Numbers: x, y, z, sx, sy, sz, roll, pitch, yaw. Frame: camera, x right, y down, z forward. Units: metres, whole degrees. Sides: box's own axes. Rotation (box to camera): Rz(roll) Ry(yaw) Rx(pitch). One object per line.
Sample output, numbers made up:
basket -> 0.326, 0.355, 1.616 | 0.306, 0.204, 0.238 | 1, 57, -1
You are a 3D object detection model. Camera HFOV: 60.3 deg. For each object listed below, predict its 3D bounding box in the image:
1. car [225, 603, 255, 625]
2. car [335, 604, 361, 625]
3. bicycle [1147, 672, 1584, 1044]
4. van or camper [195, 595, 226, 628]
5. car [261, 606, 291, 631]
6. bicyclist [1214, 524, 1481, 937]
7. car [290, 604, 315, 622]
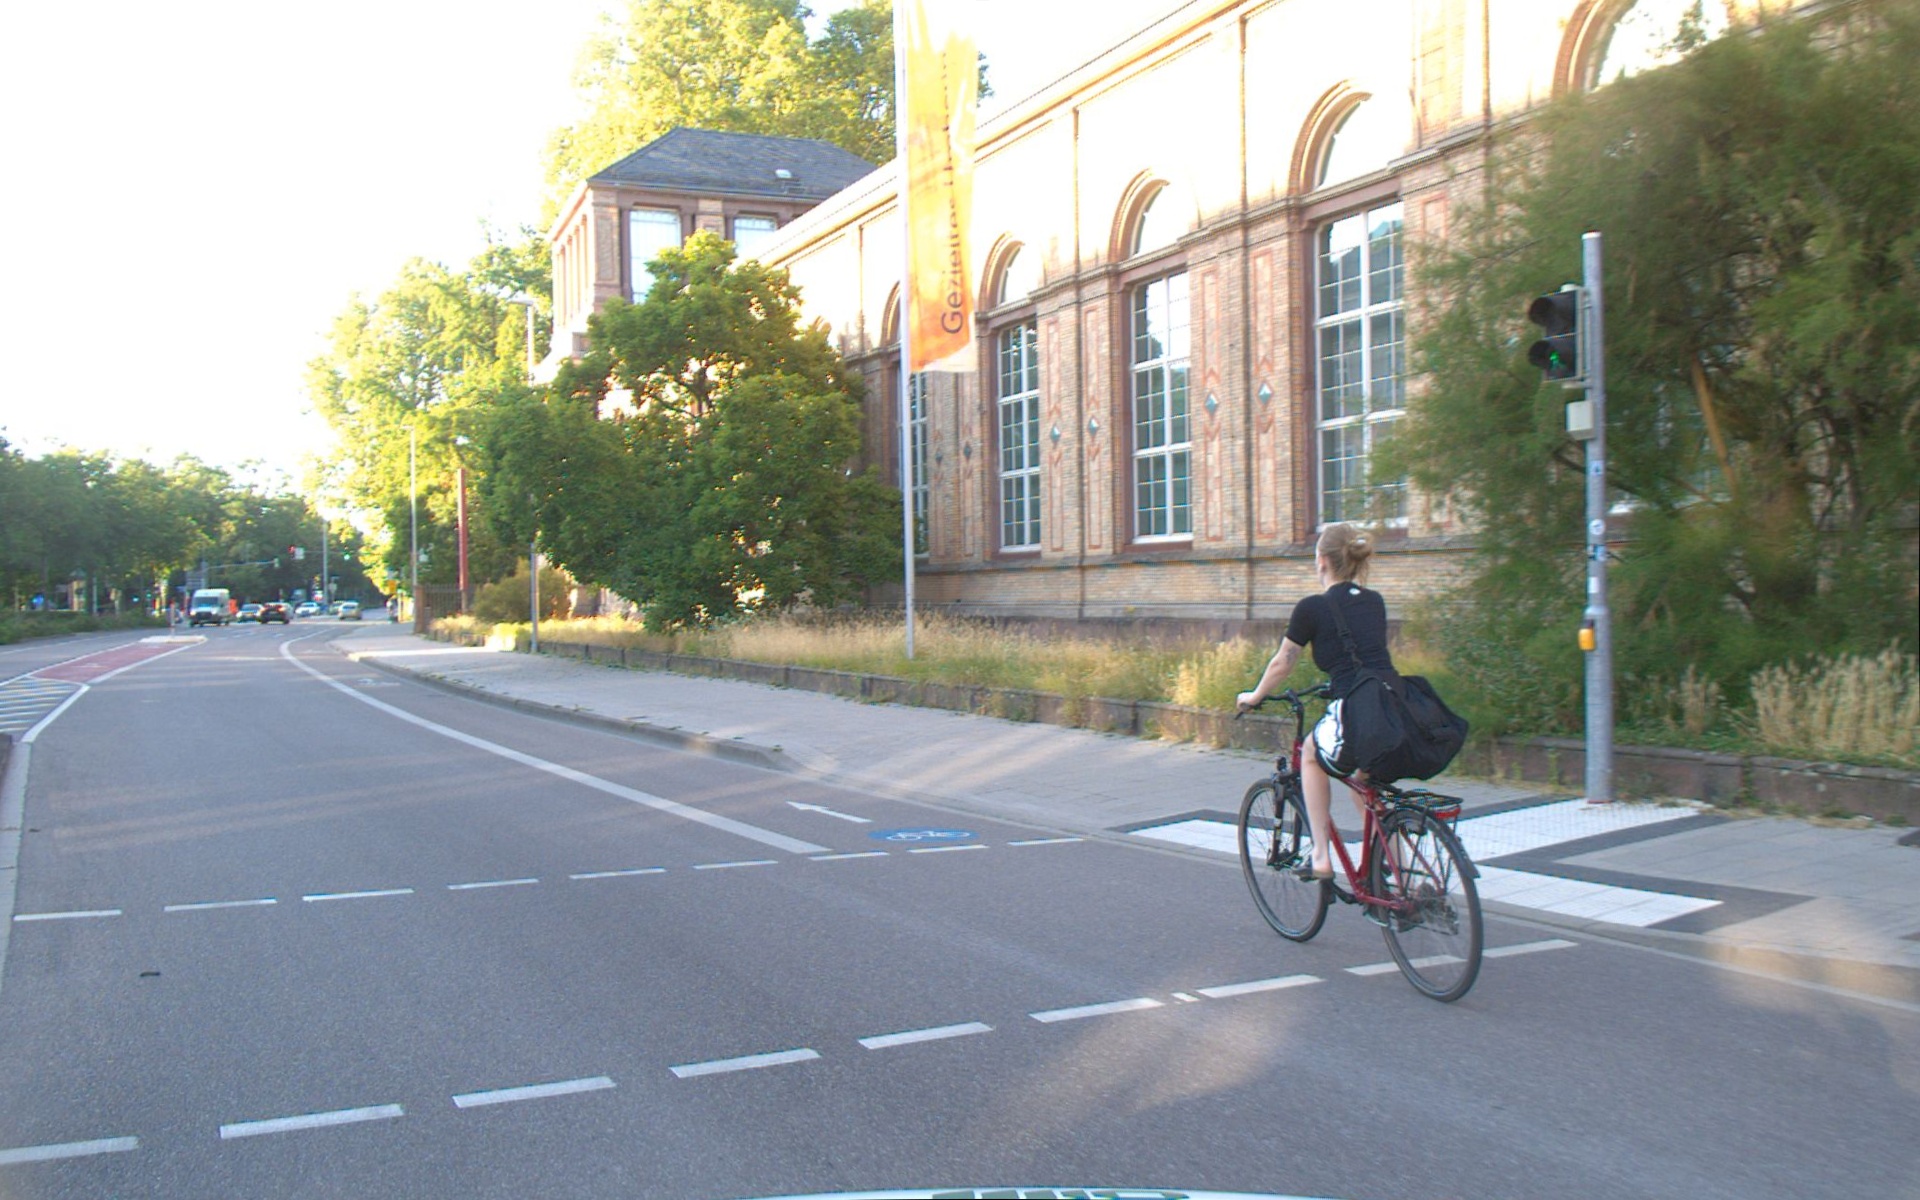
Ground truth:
car -> -59.737, 1.120, 137.231 | 1.964, 1.750, 3.977 | -2, 0, -20
car -> -53.442, 1.285, 144.480 | 1.963, 1.750, 3.979 | -2, 0, -18
bicycle -> 1.525, 0.917, 6.676 | 0.701, 1.176, 2.056 | 0, -1, -20
van or camper -> -53.201, 0.783, 117.430 | 1.804, 2.232, 4.389 | -2, 0, -23
car -> -51.430, 1.386, 124.368 | 1.966, 1.750, 3.974 | -2, 0, -22
bicyclist -> 1.534, 0.487, 6.647 | 0.705, 1.529, 0.846 | 0, -1, -19
car -> -66.616, 1.265, 167.700 | 1.962, 1.750, 3.980 | -2, 0, -17
